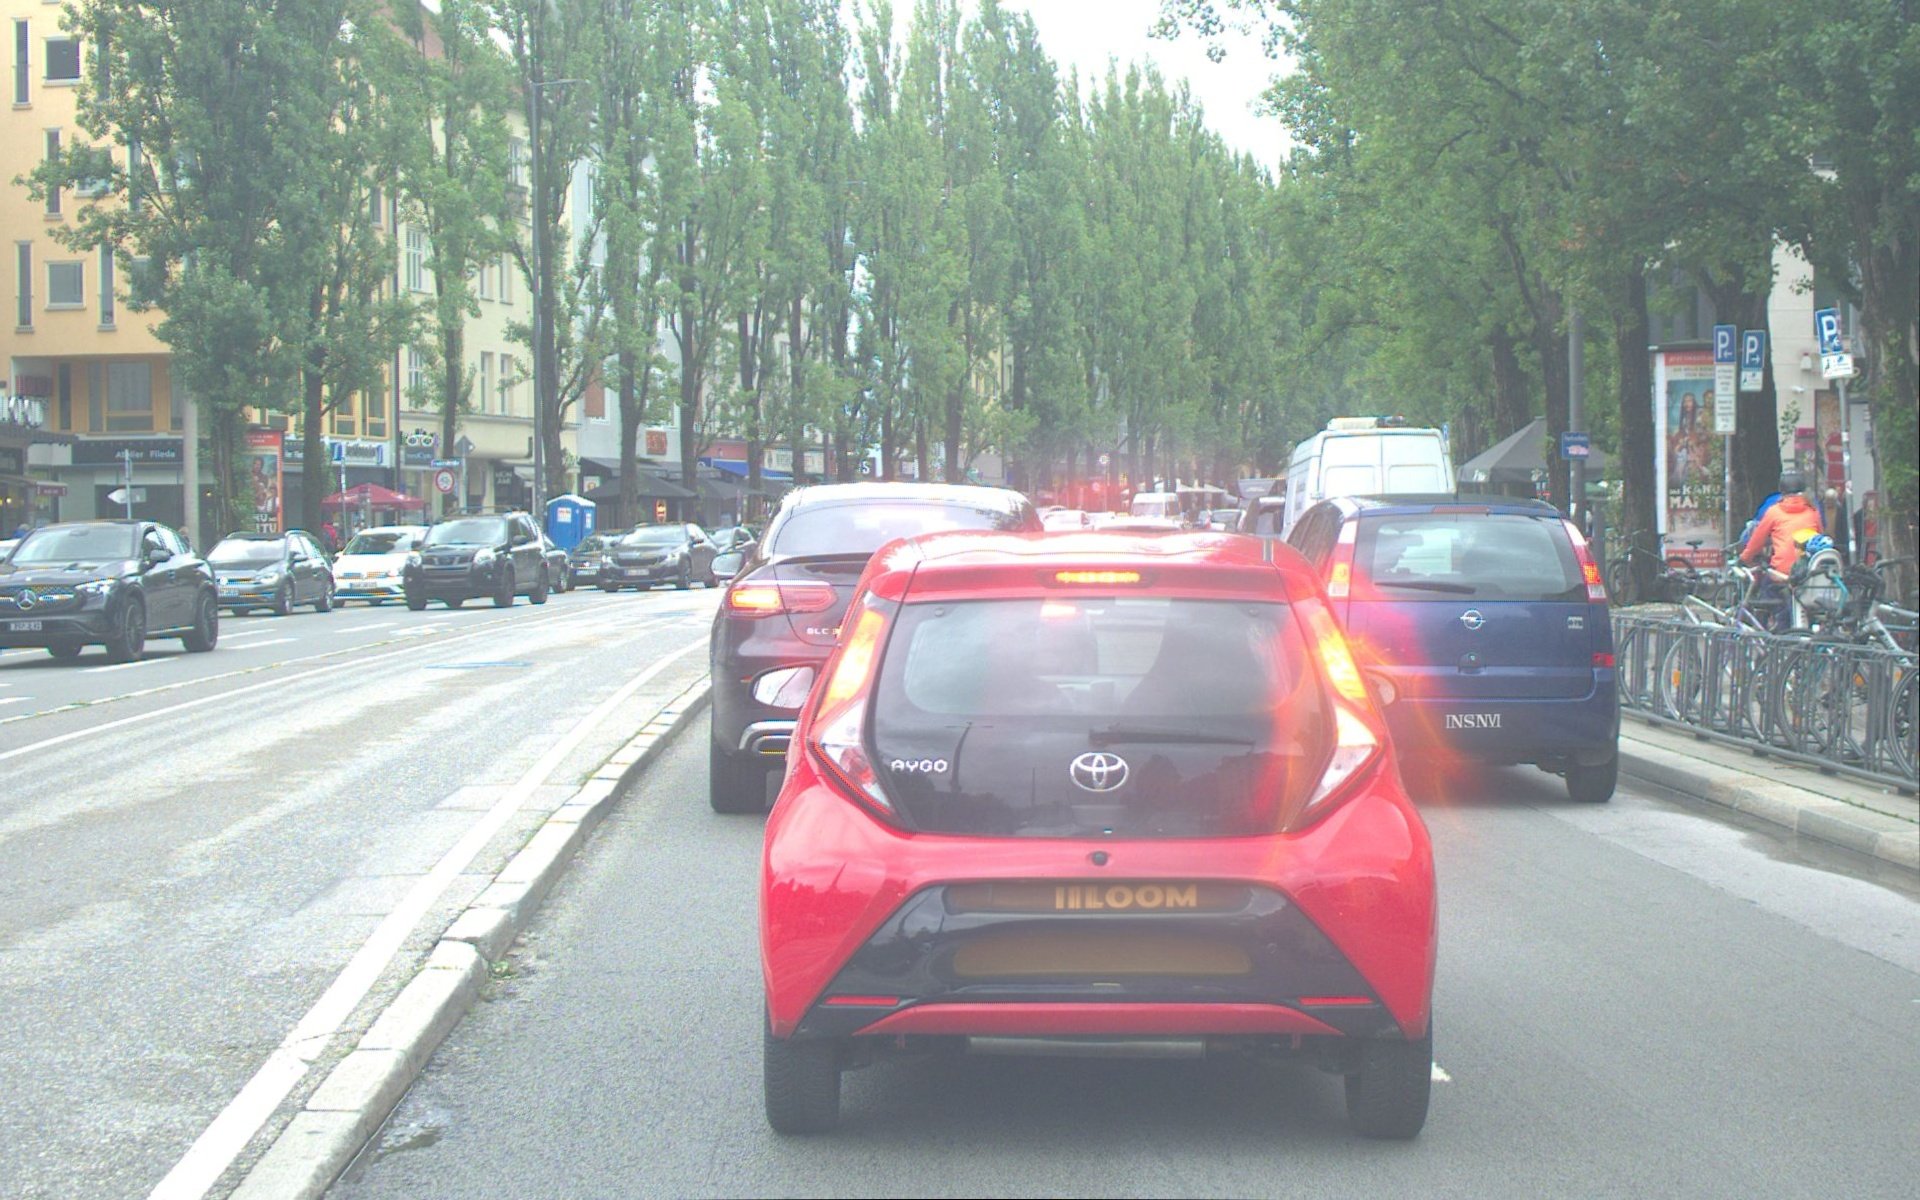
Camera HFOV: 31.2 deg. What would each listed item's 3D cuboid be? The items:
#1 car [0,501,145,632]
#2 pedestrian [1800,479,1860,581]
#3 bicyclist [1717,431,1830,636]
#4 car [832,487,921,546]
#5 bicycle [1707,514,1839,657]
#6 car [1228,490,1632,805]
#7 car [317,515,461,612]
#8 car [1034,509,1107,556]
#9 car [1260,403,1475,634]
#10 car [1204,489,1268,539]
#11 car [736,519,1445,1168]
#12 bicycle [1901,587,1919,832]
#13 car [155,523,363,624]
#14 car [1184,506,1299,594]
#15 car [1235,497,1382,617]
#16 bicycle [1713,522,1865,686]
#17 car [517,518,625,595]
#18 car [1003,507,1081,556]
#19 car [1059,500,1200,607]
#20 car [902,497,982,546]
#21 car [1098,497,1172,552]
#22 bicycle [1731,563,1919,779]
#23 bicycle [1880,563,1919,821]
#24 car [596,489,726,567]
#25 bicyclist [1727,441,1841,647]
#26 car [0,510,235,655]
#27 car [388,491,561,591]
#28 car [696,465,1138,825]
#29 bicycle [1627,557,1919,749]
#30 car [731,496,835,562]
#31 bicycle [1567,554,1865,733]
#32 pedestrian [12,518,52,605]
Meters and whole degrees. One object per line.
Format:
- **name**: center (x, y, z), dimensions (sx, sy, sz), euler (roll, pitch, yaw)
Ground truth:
- **car**: center (-14.182, -0.503, 51.296), dimensions (1.995, 1.809, 4.530), euler (-2, 2, 15)
- **pedestrian**: center (13.706, -1.111, 54.184), dimensions (0.764, 1.588, 0.676), euler (-1, 1, -1)
- **bicyclist**: center (7.543, -0.624, 31.914), dimensions (0.762, 1.863, 1.133), euler (-1, 2, 0)
- **car**: center (-2.420, -2.459, 100.891), dimensions (1.994, 1.686, 4.920), euler (0, 1, 6)
- **bicycle**: center (7.552, -0.160, 32.030), dimensions (0.614, 1.260, 2.520), euler (-1, 2, 0)
- **car**: center (2.500, 0.187, 19.059), dimensions (1.703, 1.584, 3.556), euler (0, 2, -1)
- **car**: center (-11.302, -0.746, 68.270), dimensions (1.856, 1.809, 4.000), euler (2, 1, 5)
- **car**: center (4.178, -2.561, 129.473), dimensions (1.994, 1.686, 4.412), euler (-1, 2, 12)
- **car**: center (5.054, -1.033, 43.258), dimensions (2.107, 2.709, 4.804), euler (-1, 2, 0)
- **car**: center (10.288, -3.206, 127.834), dimensions (1.994, 1.831, 3.999), euler (-1, 2, 10)
- **car**: center (0.294, 0.518, 9.386), dimensions (1.605, 1.456, 3.130), euler (0, 2, 0)
- **bicycle**: center (5.265, 0.515, 15.632), dimensions (1.836, 1.132, 0.585), euler (1, 2, 42)
- **car**: center (-12.033, -0.483, 59.348), dimensions (1.994, 1.604, 4.531), euler (-1, 2, 9)
- **car**: center (4.984, -0.907, 61.158), dimensions (1.703, 1.524, 3.556), euler (0, 1, -1)
- **car**: center (4.965, -0.636, 49.322), dimensions (1.703, 1.657, 3.556), euler (0, 1, -1)
- **bicycle**: center (6.765, 0.006, 28.172), dimensions (0.614, 1.260, 2.520), euler (-1, 2, 0)
- **car**: center (-9.532, -1.086, 84.568), dimensions (1.856, 1.809, 4.000), euler (2, 1, 5)
- **car**: center (2.918, -2.445, 122.010), dimensions (1.994, 1.686, 4.412), euler (-1, 2, 12)
- **car**: center (2.341, -0.676, 48.120), dimensions (1.699, 1.421, 3.497), euler (-1, 2, -1)
- **car**: center (-0.615, -2.851, 124.023), dimensions (1.994, 1.686, 4.412), euler (-1, 2, 12)
- **car**: center (4.705, -2.036, 92.239), dimensions (1.773, 1.434, 3.938), euler (0, 2, 6)
- **bicycle**: center (5.147, 0.374, 18.556), dimensions (1.836, 1.132, 0.585), euler (1, 2, 35)
- **bicycle**: center (5.345, 0.448, 16.298), dimensions (1.836, 1.237, 0.585), euler (1, 2, 42)
- **car**: center (-6.648, -1.629, 76.951), dimensions (1.994, 1.686, 4.920), euler (0, 2, 6)
- **bicyclist**: center (6.755, -0.467, 28.232), dimensions (0.614, 1.652, 1.251), euler (-1, 2, 0)
- **car**: center (-9.803, -0.243, 38.831), dimensions (1.994, 1.529, 4.587), euler (-1, 1, 4)
- **car**: center (-8.470, -1.063, 60.361), dimensions (1.994, 1.686, 4.921), euler (0, 2, 4)
- **car**: center (-0.244, 0.146, 17.662), dimensions (1.993, 1.612, 4.001), euler (-1, 2, -1)
- **bicycle**: center (5.103, 0.307, 21.285), dimensions (1.836, 1.132, 0.585), euler (1, 2, 35)
- **car**: center (-4.625, -1.879, 90.508), dimensions (1.994, 1.686, 4.920), euler (0, 1, 6)
- **bicycle**: center (4.991, 0.269, 22.751), dimensions (1.836, 1.132, 0.585), euler (1, 2, 35)
- **pedestrian**: center (-21.304, -0.895, 78.906), dimensions (0.687, 1.990, 0.765), euler (0, 1, 0)
